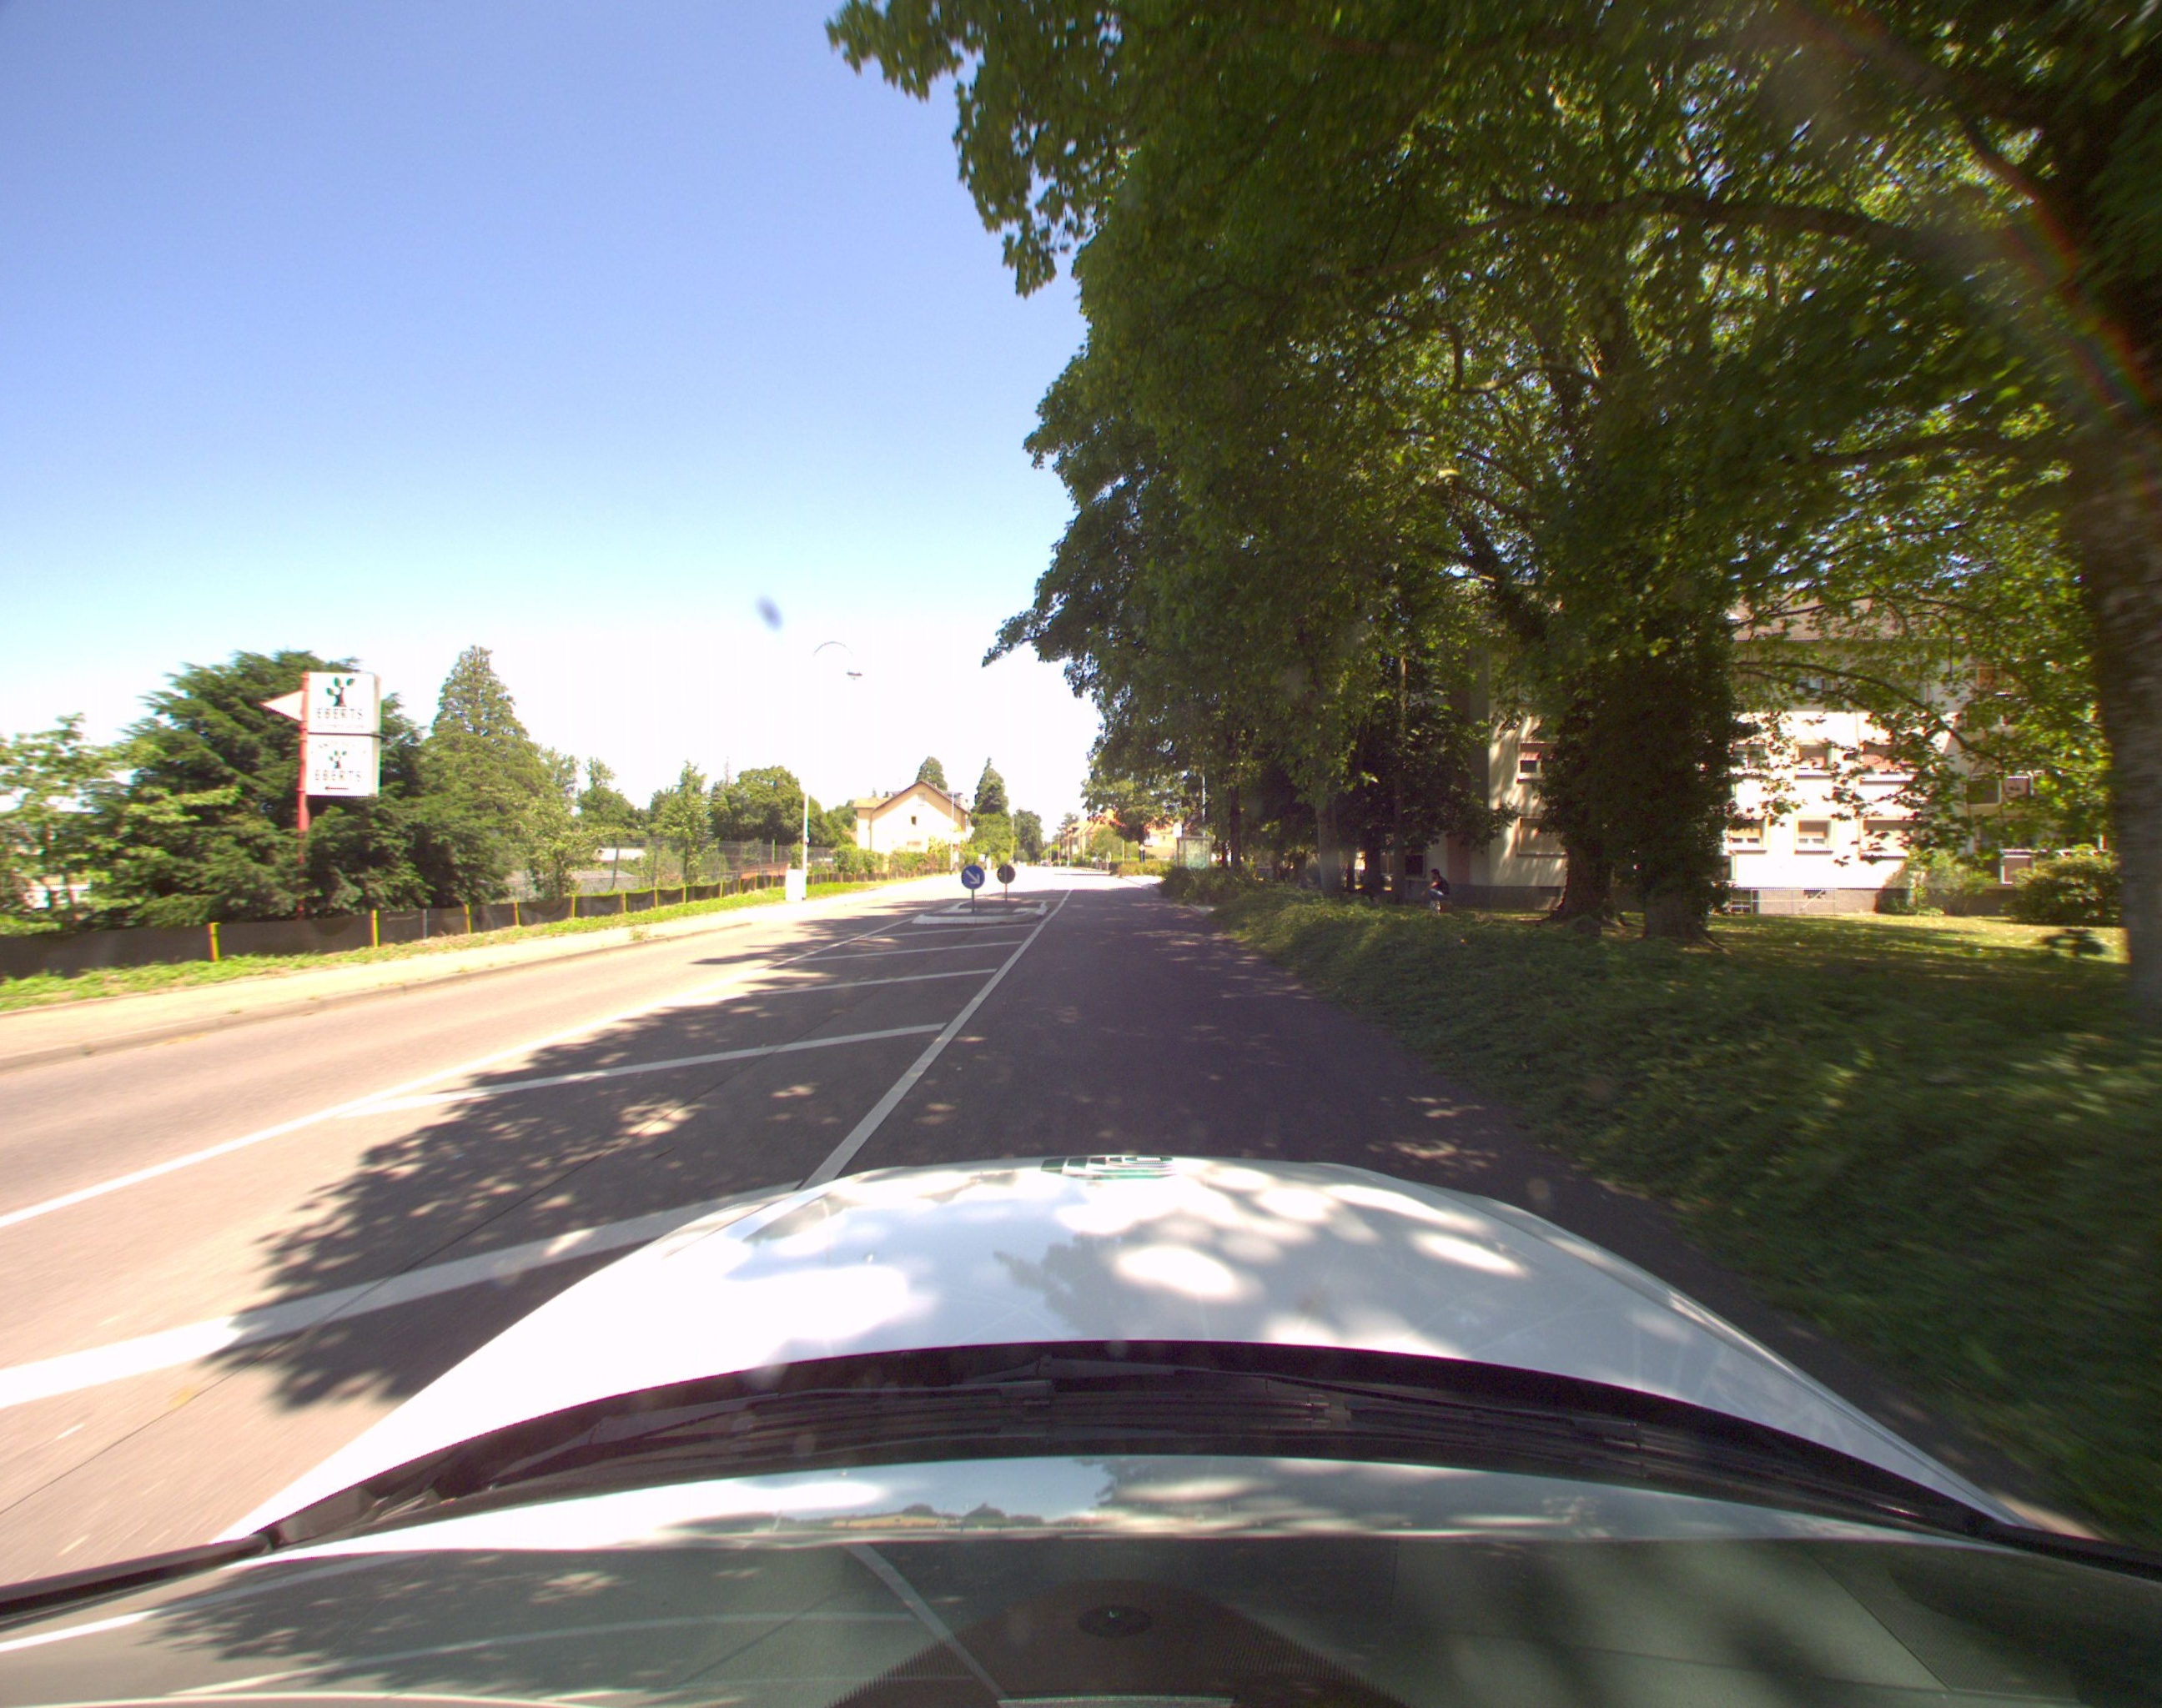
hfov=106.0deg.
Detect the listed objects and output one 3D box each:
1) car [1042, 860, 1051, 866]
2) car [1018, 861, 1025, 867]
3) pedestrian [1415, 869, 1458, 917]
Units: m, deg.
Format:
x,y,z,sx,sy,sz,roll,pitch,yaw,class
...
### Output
x,y,z,sx,sy,sz,roll,pitch,yaw,class
-8.264,2.157,195.175,1.690,1.419,4.540,1,-2,-6,car
-14.843,2.507,204.709,1.677,1.372,4.200,-1,0,-4,car
9.981,1.067,22.880,0.932,1.293,1.073,0,-1,13,pedestrian
